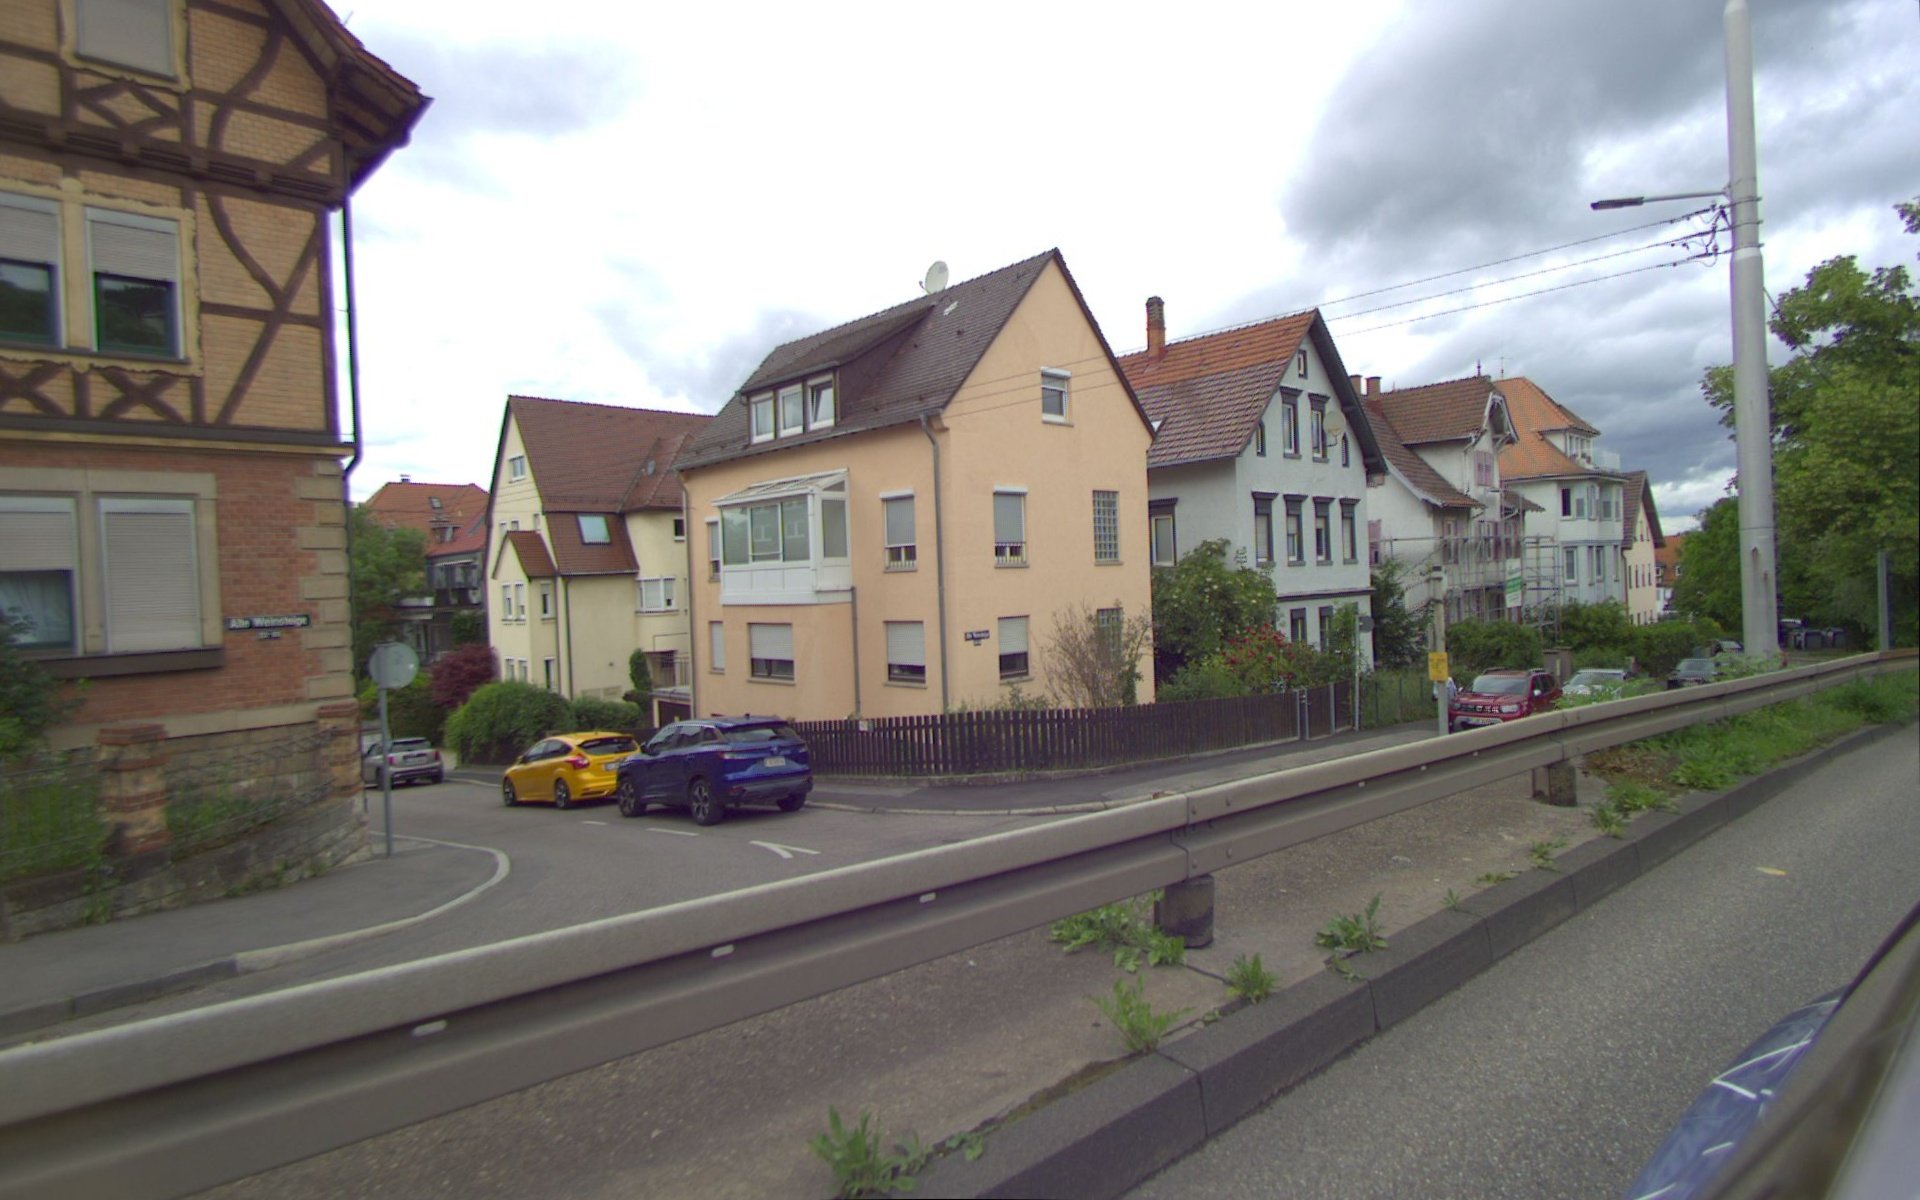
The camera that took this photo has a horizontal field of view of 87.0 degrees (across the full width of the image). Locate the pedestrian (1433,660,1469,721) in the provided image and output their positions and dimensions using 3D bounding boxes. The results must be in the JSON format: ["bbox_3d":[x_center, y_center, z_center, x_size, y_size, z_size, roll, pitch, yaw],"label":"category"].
[{"bbox_3d":[12.660,2.327,26.095,0.579,1.500,0.618,1,-2,-43],"label":"pedestrian"}]

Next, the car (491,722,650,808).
[{"bbox_3d":[-8.183,3.419,21.086,1.649,1.481,3.986,1,-8,-44],"label":"car"}]

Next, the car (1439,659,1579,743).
[{"bbox_3d":[13.319,2.357,24.459,4.133,1.692,1.783,1,-2,-44],"label":"car"}]

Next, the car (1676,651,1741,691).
[{"bbox_3d":[31.410,2.936,42.453,1.619,1.467,3.992,-2,-2,44],"label":"car"}]

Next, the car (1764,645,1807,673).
[{"bbox_3d":[46.662,3.313,57.169,1.645,1.413,3.711,-2,-2,43],"label":"car"}]

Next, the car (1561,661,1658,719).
[{"bbox_3d":[19.955,2.705,31.038,1.619,1.460,4.361,-2,-2,44],"label":"car"}]

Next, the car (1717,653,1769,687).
[{"bbox_3d":[38.103,3.356,49.223,1.618,1.467,3.966,-2,-2,43],"label":"car"}]

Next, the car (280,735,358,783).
[{"bbox_3d":[-24.809,6.157,39.099,1.762,1.595,3.986,1,-8,-44],"label":"car"}]

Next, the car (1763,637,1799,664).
[{"bbox_3d":[50.063,3.058,61.680,1.616,1.541,4.241,-2,-2,40],"label":"car"}]

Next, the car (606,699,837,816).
[{"bbox_3d":[-4.111,2.669,17.027,1.967,1.595,3.986,1,-9,-44],"label":"car"}]

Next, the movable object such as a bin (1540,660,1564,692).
[{"bbox_3d":[21.579,2.763,36.891,0.528,1.092,0.580,0,1,-39],"label":"movable object such as a bin"}]

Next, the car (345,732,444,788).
[{"bbox_3d":[-17.188,4.846,30.695,1.685,1.425,3.879,1,-8,-44],"label":"car"}]
